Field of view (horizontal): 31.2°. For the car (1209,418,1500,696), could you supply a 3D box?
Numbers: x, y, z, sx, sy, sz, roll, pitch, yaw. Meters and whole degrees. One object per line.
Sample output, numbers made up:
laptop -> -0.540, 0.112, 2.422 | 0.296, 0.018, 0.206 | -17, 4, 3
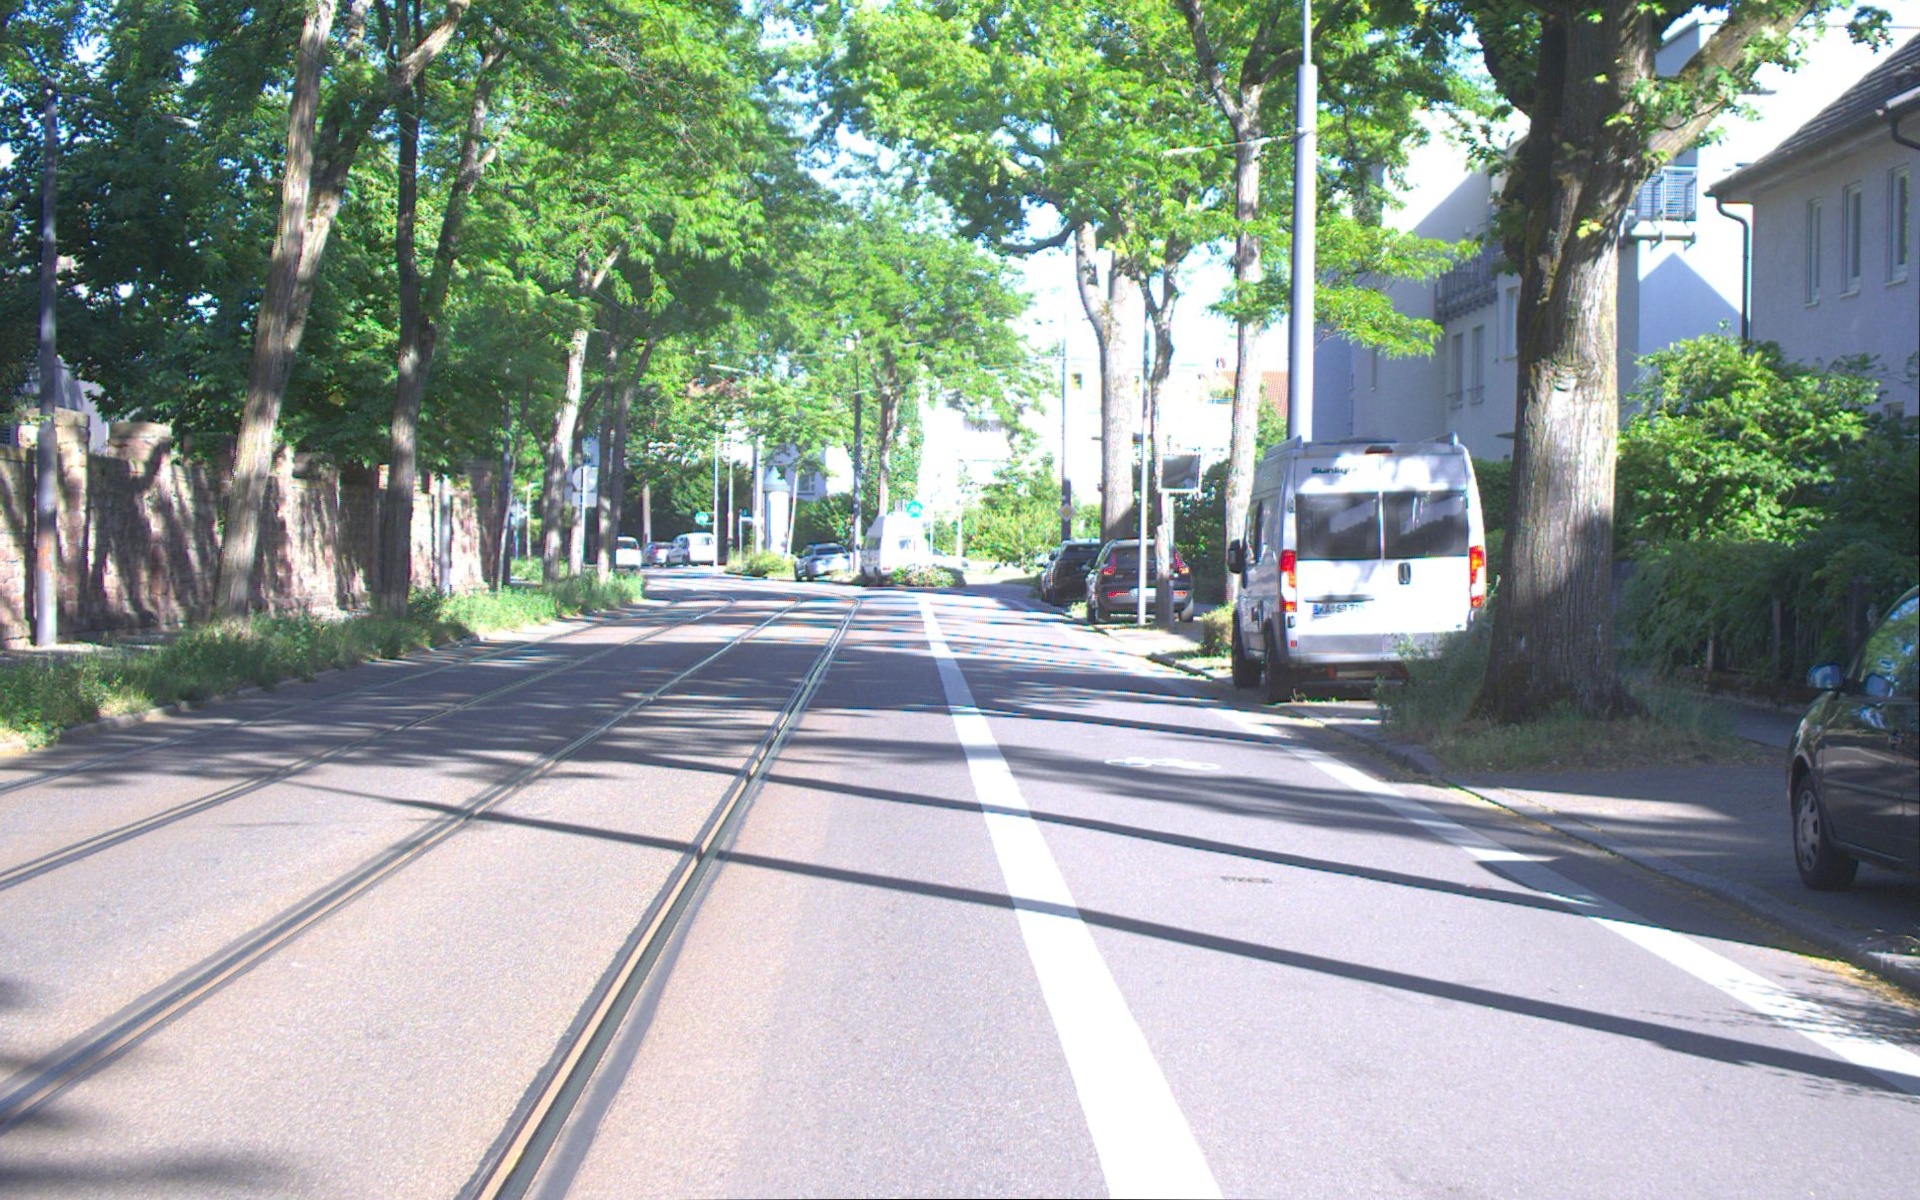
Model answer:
car -> 3.995, -0.465, 35.808 | 2.245, 2.645, 5.586 | -1, 1, -1

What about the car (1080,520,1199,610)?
car -> 3.498, -0.703, 67.748 | 2.003, 1.669, 4.393 | -1, 1, -1

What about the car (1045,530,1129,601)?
car -> 3.178, -0.874, 85.273 | 2.003, 1.669, 4.392 | -1, 1, 3

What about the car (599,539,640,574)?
car -> -16.635, -2.147, 168.122 | 1.865, 1.669, 4.174 | 0, 1, -4

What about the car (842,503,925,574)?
car -> -2.709, -2.171, 121.337 | 1.993, 2.449, 4.510 | 0, 1, -14

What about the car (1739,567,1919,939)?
car -> 4.542, 0.586, 14.382 | 1.627, 1.393, 3.646 | -2, 1, -1

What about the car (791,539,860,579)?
car -> -5.468, -1.661, 139.072 | 2.002, 1.555, 4.394 | 0, 1, -13

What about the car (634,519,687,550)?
car -> -16.949, -3.714, 194.518 | 2.002, 1.669, 4.174 | -1, 1, -18

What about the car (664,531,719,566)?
car -> -14.708, -2.811, 188.137 | 2.002, 1.903, 4.393 | -1, 1, -18
